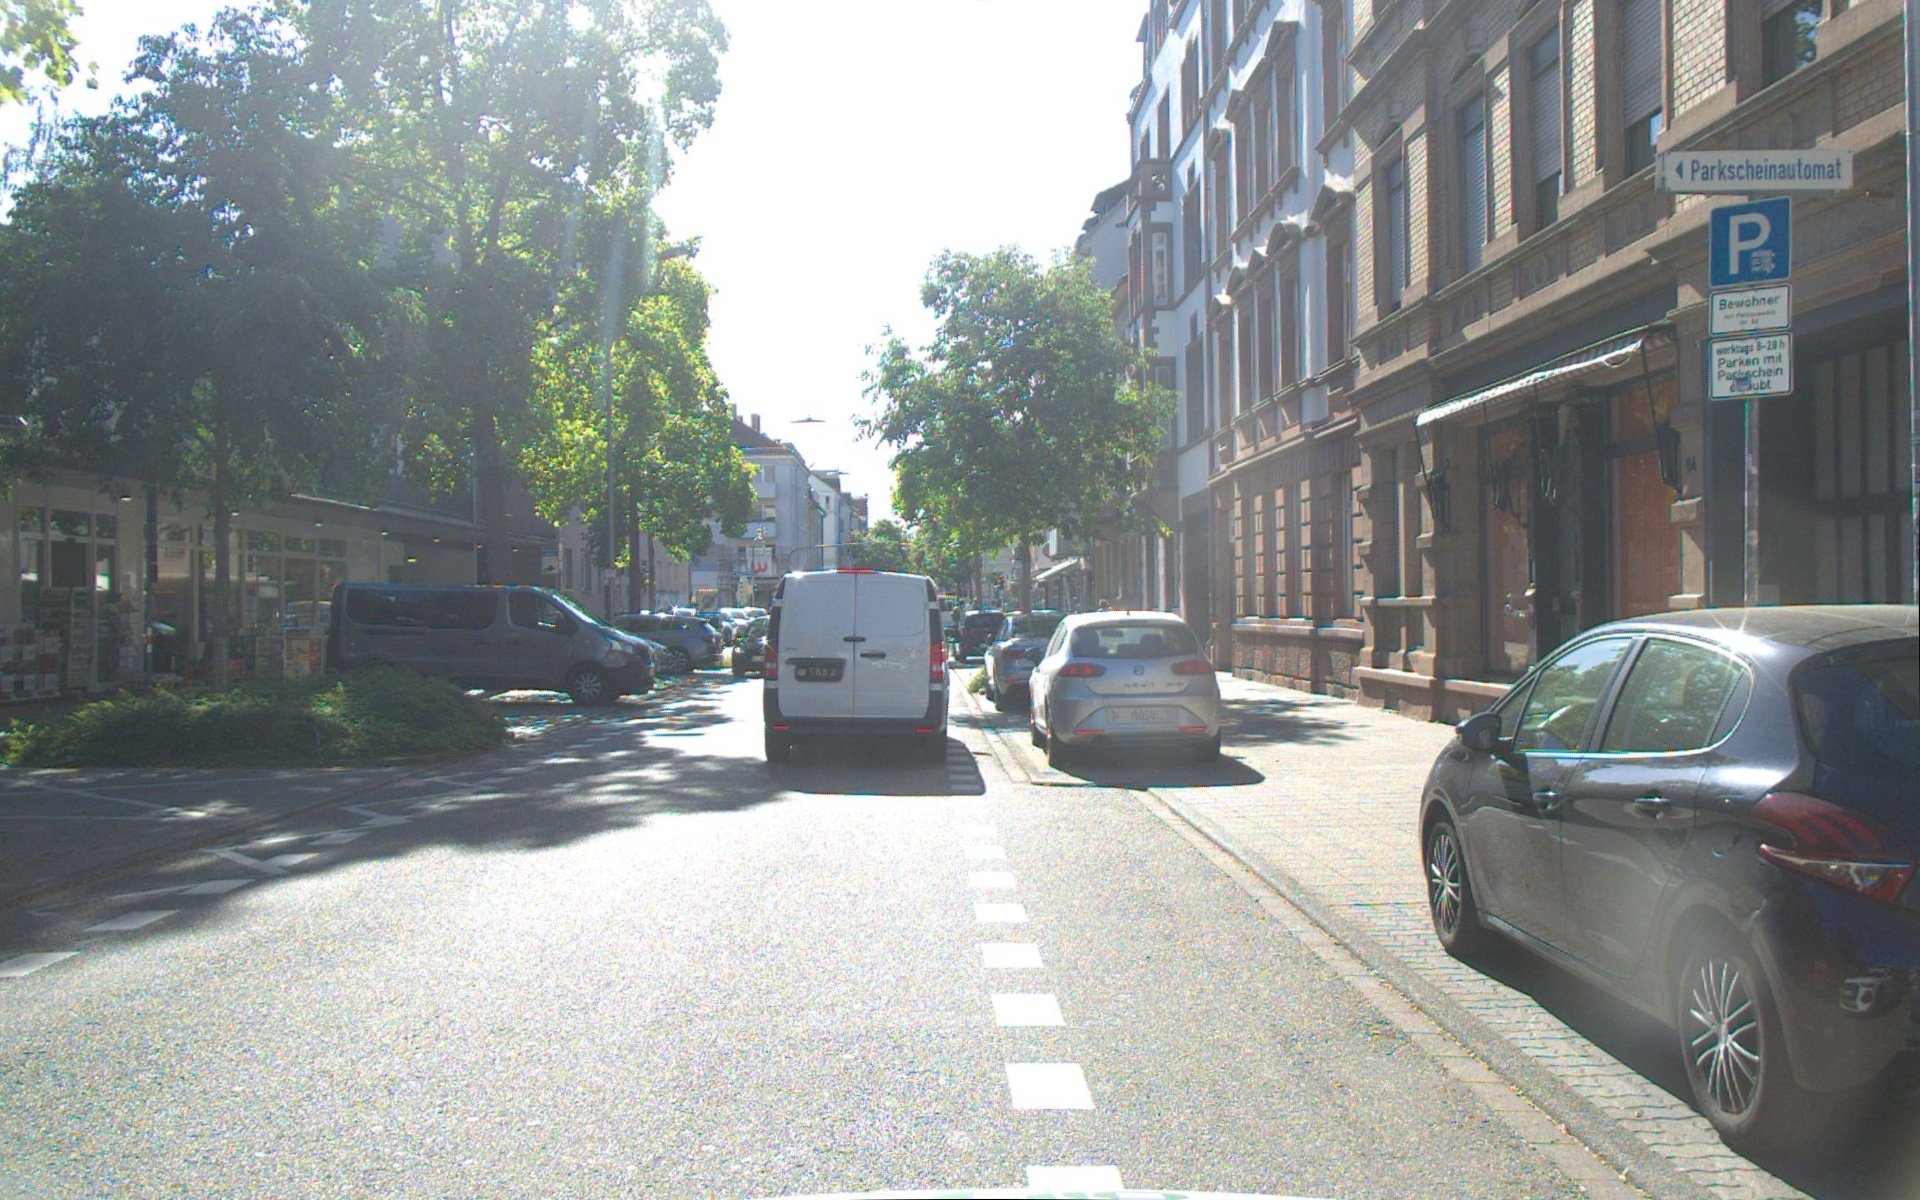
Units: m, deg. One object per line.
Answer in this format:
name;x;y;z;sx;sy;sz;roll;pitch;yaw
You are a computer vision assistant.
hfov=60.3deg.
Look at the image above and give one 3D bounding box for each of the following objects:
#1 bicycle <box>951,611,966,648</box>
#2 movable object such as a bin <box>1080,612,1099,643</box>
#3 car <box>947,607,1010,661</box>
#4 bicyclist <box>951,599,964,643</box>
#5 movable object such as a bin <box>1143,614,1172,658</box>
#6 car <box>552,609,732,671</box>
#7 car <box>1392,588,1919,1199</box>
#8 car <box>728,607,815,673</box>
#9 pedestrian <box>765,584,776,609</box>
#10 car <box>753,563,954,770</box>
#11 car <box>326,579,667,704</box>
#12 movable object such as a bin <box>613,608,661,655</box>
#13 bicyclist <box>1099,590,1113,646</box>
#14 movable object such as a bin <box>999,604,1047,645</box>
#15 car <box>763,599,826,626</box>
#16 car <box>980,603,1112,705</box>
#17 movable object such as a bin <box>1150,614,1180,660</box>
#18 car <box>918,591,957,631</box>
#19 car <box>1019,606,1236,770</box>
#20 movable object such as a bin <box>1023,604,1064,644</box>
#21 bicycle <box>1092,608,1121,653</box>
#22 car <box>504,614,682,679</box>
bicycle;-0.060;1.044;59.044;0.465;1.296;1.217;-1;0;-2
movable object such as a bin;4.492;0.947;57.573;0.586;1.060;0.545;-1;0;-3
car;0.532;0.977;49.504;1.603;1.501;3.577;-2;0;-3
bicyclist;-0.091;0.750;59.292;0.430;1.535;0.496;-2;0;-3
movable object such as a bin;4.966;0.901;41.672;0.625;1.087;0.632;-1;0;-2
car;-8.052;1.000;42.115;4.216;1.486;1.762;1;0;0
car;2.912;0.723;5.848;1.674;1.506;3.709;-1;0;-2
car;-4.571;0.944;40.525;1.727;1.464;3.959;-2;0;-2
pedestrian;-12.951;-0.253;113.249;0.670;1.693;0.601;-1;0;-3
car;-1.215;0.620;18.070;1.883;1.947;4.882;0;0;-5
car;-7.720;0.684;27.968;5.186;2.009;2.014;0;0;-2
movable object such as a bin;-10.310;0.998;52.871;1.204;1.475;1.077;-1;0;8
bicyclist;3.995;0.494;45.217;0.353;1.503;0.531;0;0;1
movable object such as a bin;2.194;0.838;57.512;1.262;1.371;1.091;-1;0;-44
car;-10.536;0.774;105.335;3.909;1.668;1.998;-1;0;-5
car;1.309;0.807;26.708;1.703;1.477;4.305;-1;0;-2
movable object such as a bin;5.012;0.897;40.518;0.625;1.087;0.639;-1;0;-2
car;-1.163;0.545;83.654;1.779;1.955;4.641;-1;0;-3
car;1.636;0.823;17.423;1.703;1.477;3.998;-1;0;-2
movable object such as a bin;2.961;0.852;58.732;1.021;1.371;1.104;-1;0;37
bicycle;4.017;0.825;45.381;0.525;1.168;2.124;-5;-1;0
car;-8.693;1.080;39.398;3.909;1.489;1.811;0;0;-5
